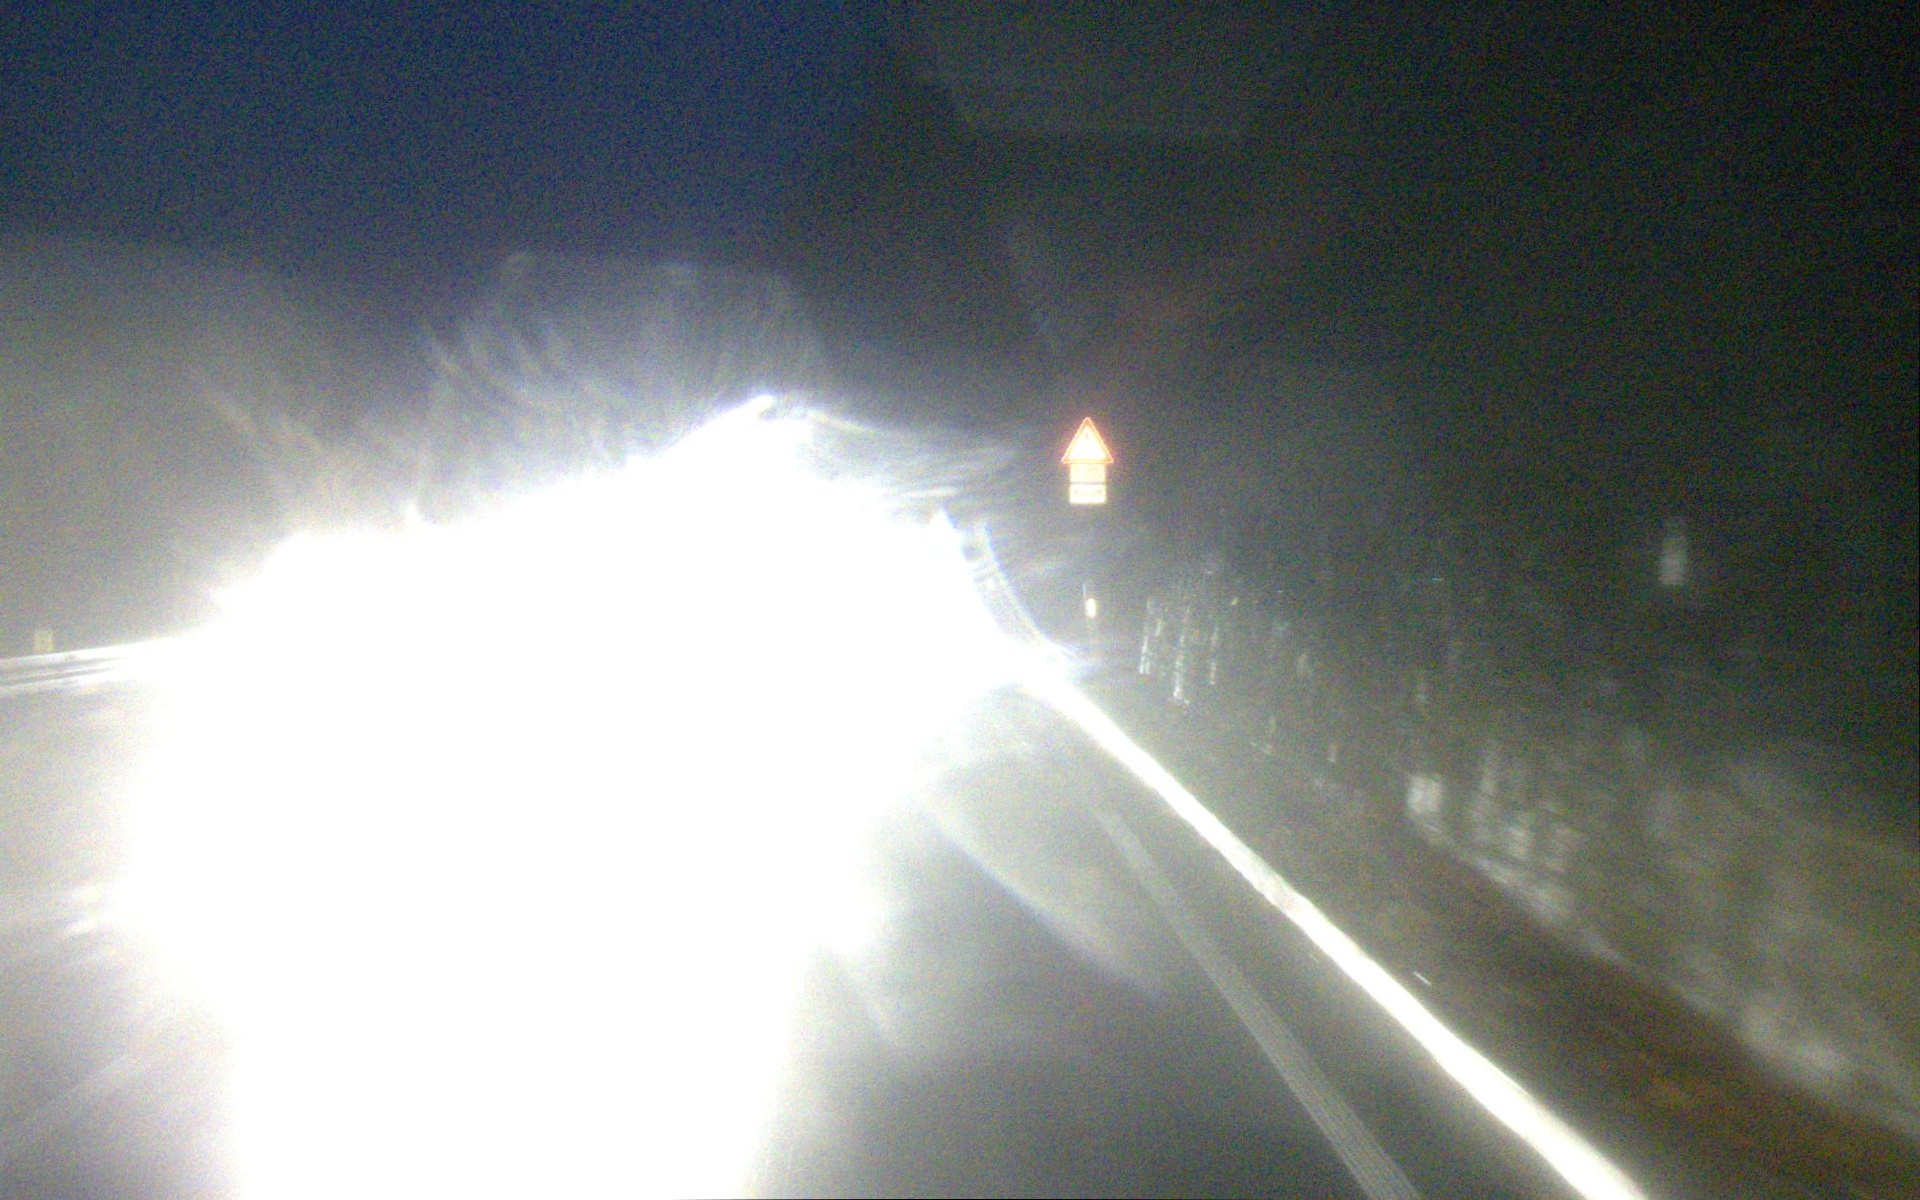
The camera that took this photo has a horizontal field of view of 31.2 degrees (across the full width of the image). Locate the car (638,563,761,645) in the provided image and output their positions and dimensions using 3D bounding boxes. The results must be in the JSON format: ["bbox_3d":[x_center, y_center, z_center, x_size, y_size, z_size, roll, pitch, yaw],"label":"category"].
[{"bbox_3d":[-4.852,0.085,64.583,1.993,1.492,4.356,0,0,0],"label":"car"}]

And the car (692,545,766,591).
[{"bbox_3d":[-7.706,-1.045,114.853,1.976,1.457,4.281,0,0,3],"label":"car"}]

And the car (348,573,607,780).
[{"bbox_3d":[-3.975,0.579,28.863,1.716,1.548,4.001,-1,1,-2],"label":"car"}]
